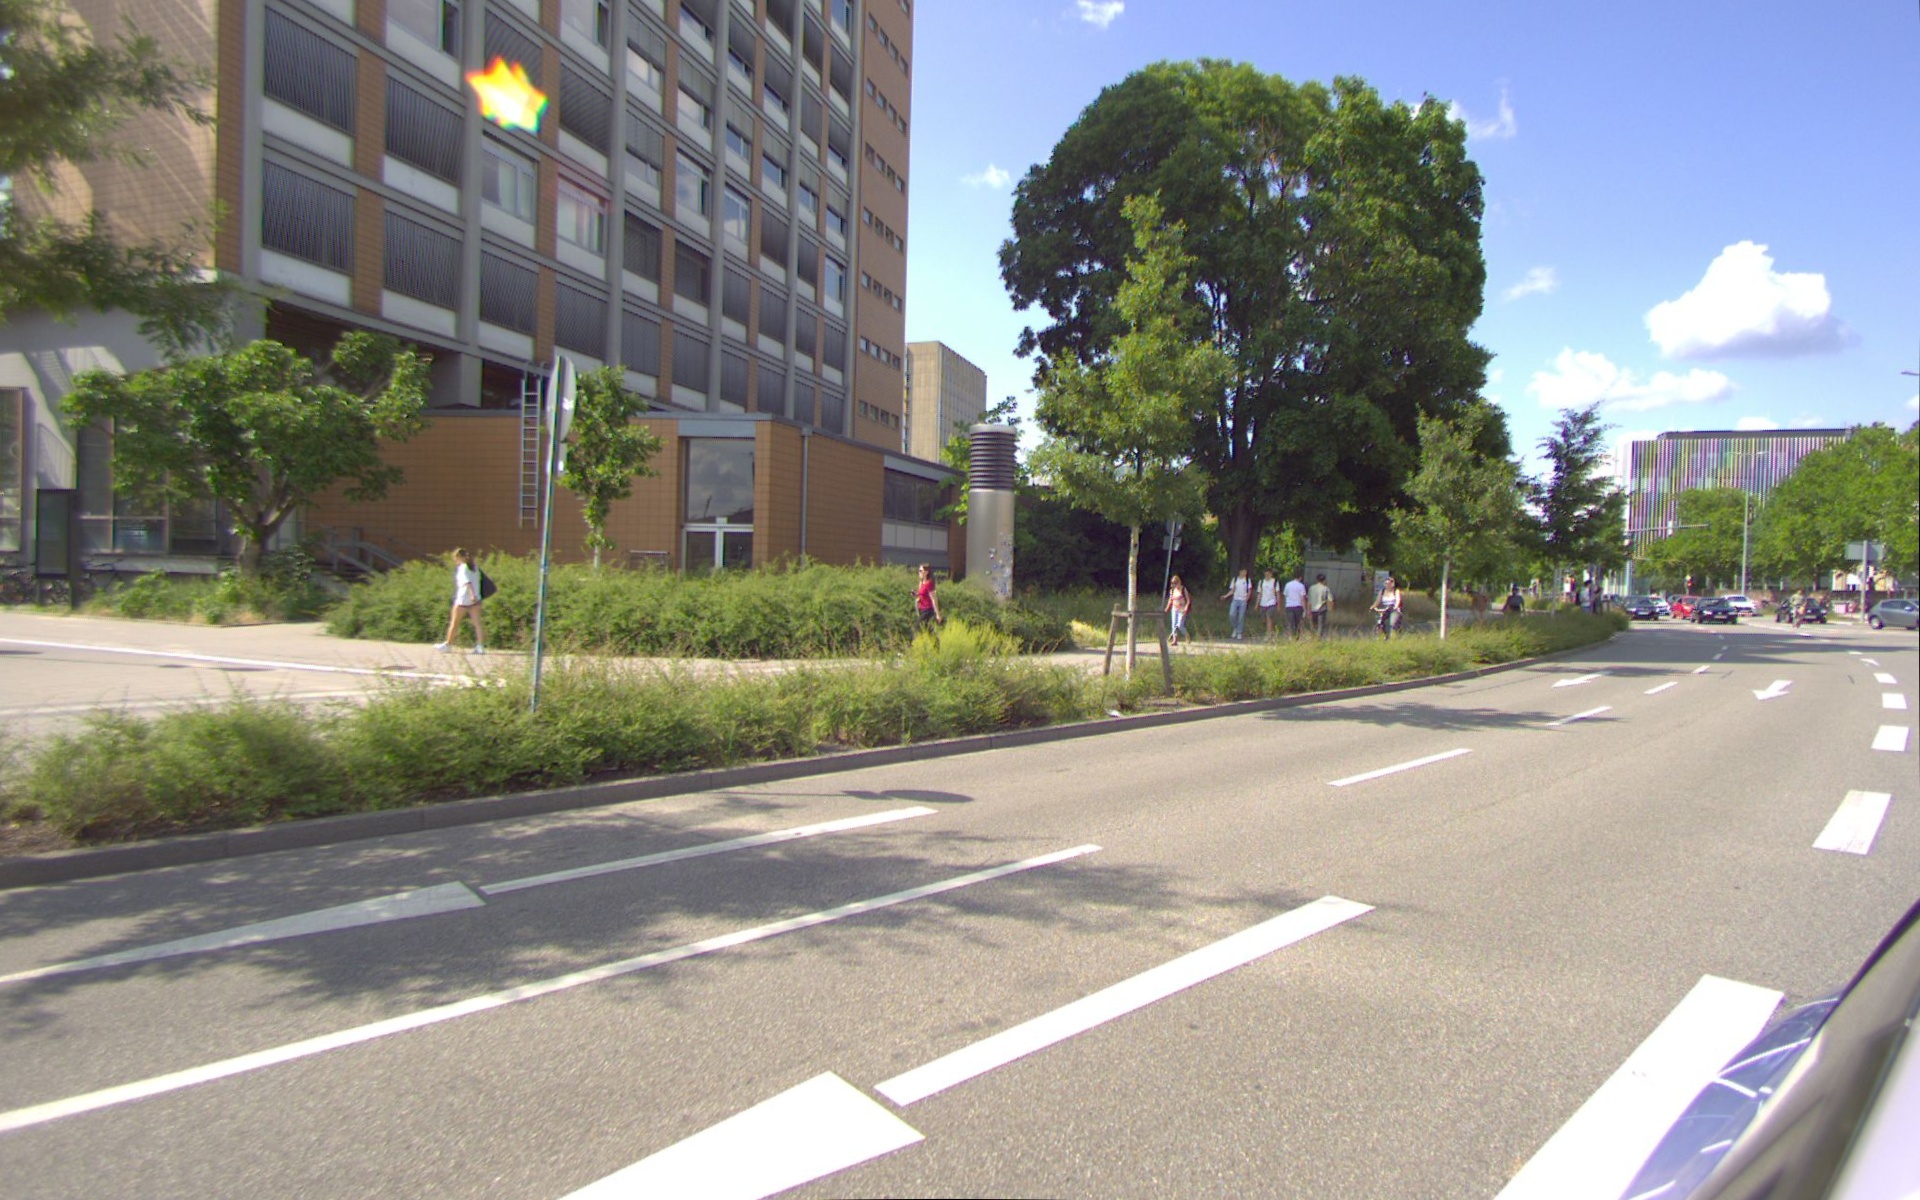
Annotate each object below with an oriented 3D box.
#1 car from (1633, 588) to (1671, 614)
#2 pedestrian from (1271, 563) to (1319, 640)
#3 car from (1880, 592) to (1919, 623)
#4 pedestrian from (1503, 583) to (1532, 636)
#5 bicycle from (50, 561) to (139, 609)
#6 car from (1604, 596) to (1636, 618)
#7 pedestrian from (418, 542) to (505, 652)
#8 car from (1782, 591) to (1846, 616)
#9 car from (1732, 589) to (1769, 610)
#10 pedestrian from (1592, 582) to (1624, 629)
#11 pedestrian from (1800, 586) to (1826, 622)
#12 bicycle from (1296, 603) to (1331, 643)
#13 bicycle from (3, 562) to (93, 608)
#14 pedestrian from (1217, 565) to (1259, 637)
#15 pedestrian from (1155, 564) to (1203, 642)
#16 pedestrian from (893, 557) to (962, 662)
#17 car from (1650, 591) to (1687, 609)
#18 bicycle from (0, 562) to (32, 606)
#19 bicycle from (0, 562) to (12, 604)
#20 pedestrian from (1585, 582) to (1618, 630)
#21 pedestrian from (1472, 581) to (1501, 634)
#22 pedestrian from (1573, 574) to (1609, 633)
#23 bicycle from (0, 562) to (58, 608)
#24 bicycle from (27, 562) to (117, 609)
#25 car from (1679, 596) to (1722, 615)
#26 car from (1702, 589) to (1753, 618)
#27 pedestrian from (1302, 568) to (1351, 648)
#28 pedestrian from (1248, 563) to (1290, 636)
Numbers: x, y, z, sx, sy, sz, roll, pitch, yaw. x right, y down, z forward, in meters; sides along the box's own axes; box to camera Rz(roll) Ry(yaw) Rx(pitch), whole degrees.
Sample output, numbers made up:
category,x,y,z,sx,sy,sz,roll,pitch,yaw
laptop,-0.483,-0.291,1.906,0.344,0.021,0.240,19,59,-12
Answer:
category,x,y,z,sx,sy,sz,roll,pitch,yaw
car,41.313,0.062,60.472,1.814,1.481,3.951,1,1,34
pedestrian,7.975,0.015,24.081,0.741,1.767,0.877,5,4,39
car,44.506,0.369,45.853,1.964,1.393,4.265,0,1,5
pedestrian,18.606,0.309,33.773,0.763,1.756,0.710,0,0,36
bicycle,-19.844,-0.365,23.239,0.539,1.001,1.501,2,4,15
car,46.878,0.449,71.861,1.814,1.481,3.951,1,1,34
pedestrian,-7.892,-0.065,16.026,1.081,1.642,0.613,3,3,15
car,47.870,0.175,56.804,1.714,1.351,3.760,0,1,23
car,54.922,-0.062,70.381,1.768,1.371,3.951,0,1,34
pedestrian,24.599,0.195,38.416,0.924,1.756,0.757,0,0,42
pedestrian,41.822,0.183,49.612,0.730,1.736,0.869,0,0,22
bicycle,8.538,0.536,24.398,0.642,0.892,1.807,1,1,24
bicycle,-21.359,-0.372,23.728,0.539,1.001,1.501,2,4,15
pedestrian,6.908,0.022,25.120,0.613,1.720,0.877,5,4,39
pedestrian,4.814,0.060,22.225,0.613,1.642,0.877,5,4,39
pedestrian,-0.535,0.146,16.448,0.872,1.642,0.617,1,3,-31
car,51.316,-0.024,73.358,1.895,1.148,4.057,1,2,32
bicycle,-22.913,-0.360,23.828,0.539,1.001,1.501,2,4,15
bicycle,-23.635,-0.369,24.079,0.539,1.001,1.501,2,4,15
pedestrian,24.019,0.210,37.909,0.924,1.756,0.757,0,0,42
pedestrian,17.634,0.248,33.871,0.763,1.756,0.710,0,0,36
pedestrian,22.408,0.121,35.928,0.961,2.039,0.757,0,0,42
bicycle,-22.198,-0.365,23.724,0.539,1.001,1.501,2,4,15
bicycle,-20.585,-0.362,23.481,0.539,1.001,1.501,2,4,15
car,46.273,0.320,63.287,1.583,1.148,3.594,1,1,27
car,41.645,0.163,54.964,1.813,1.481,3.954,1,1,32
pedestrian,8.522,0.162,23.534,0.741,1.775,0.877,5,4,38
pedestrian,7.573,-0.026,24.786,0.613,1.720,0.877,5,4,39
